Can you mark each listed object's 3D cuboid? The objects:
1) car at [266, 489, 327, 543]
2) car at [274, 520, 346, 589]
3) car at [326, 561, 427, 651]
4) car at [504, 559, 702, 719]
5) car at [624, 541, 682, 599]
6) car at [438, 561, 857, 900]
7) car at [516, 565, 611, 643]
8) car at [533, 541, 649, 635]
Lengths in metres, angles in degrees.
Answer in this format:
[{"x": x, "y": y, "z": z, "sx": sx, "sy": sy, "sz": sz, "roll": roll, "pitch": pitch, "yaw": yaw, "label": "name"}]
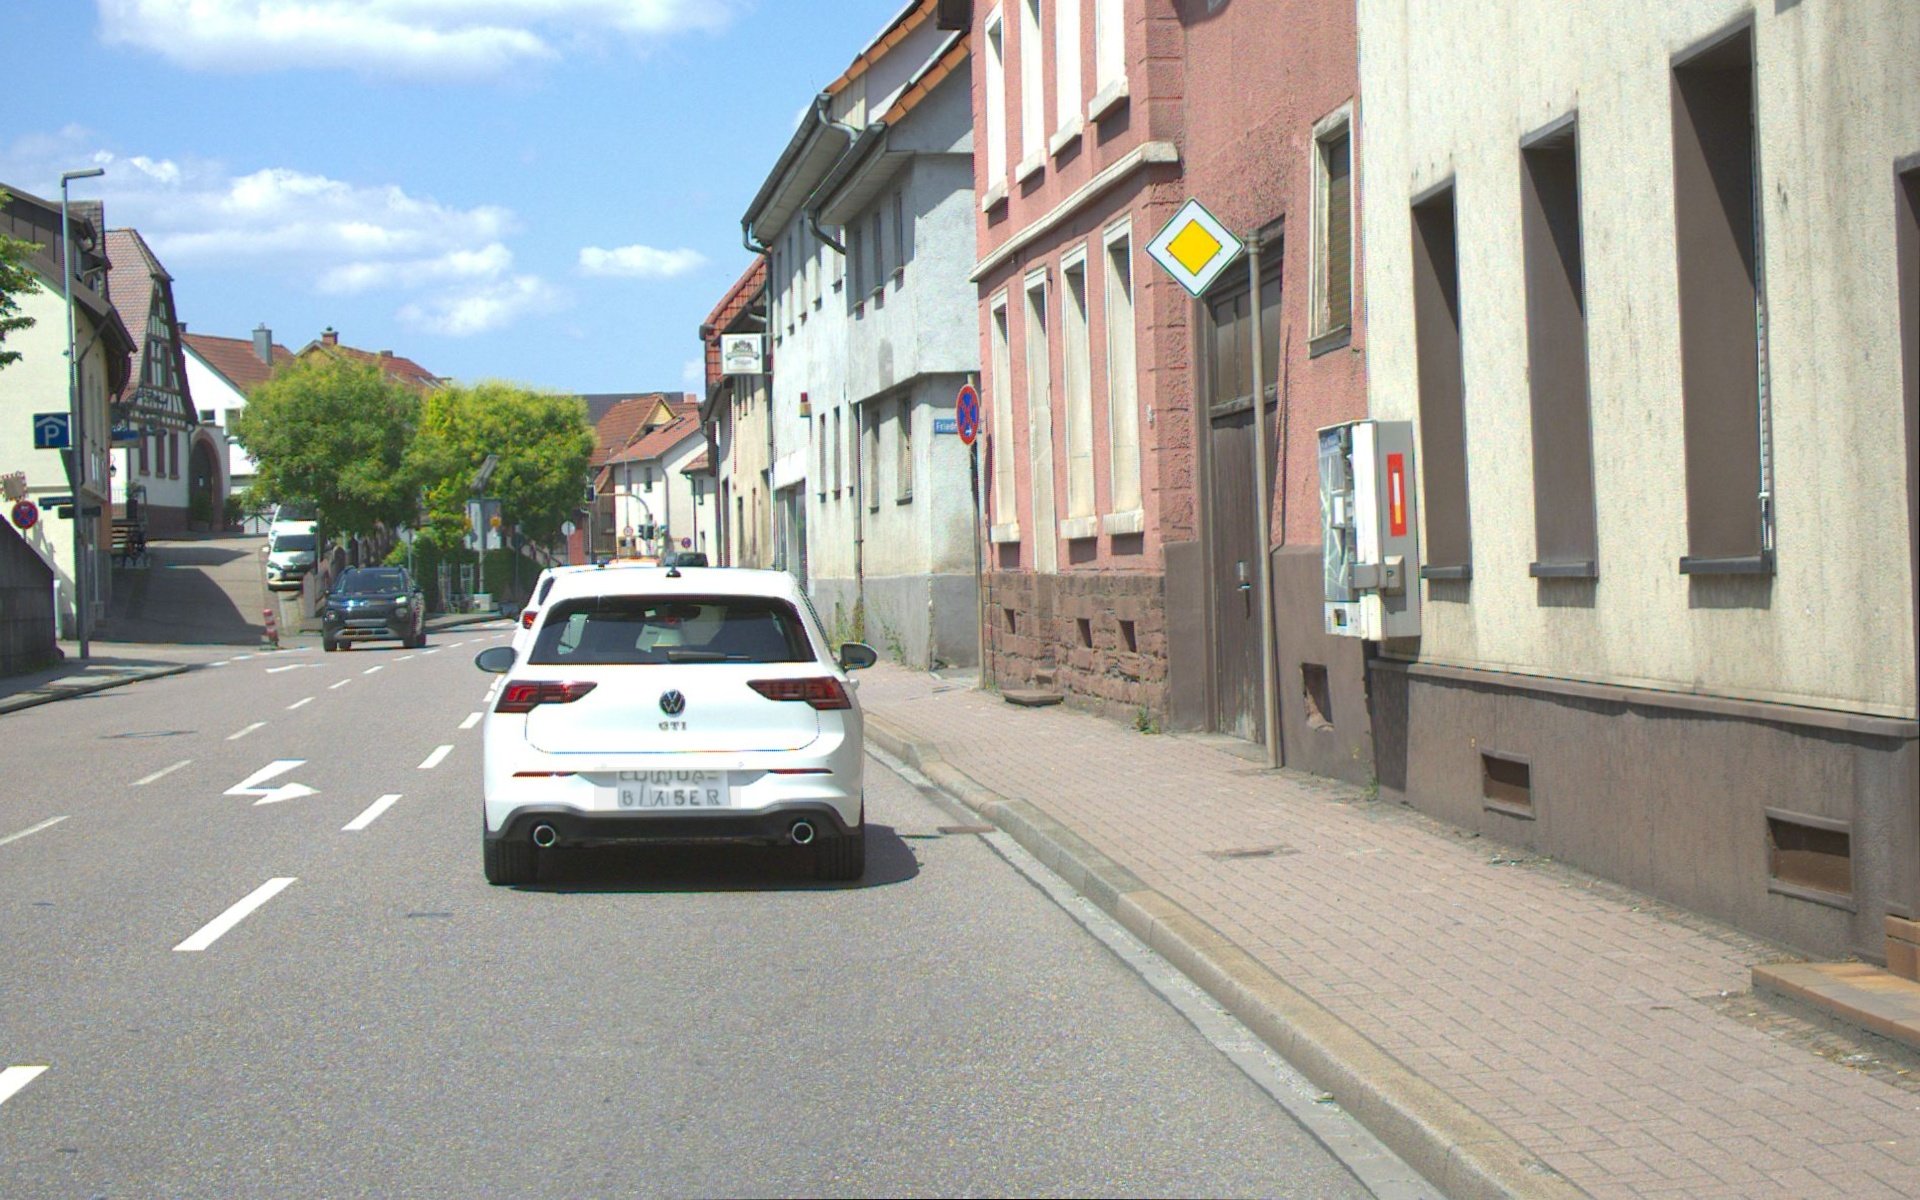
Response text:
[{"x": -20.813, "y": -2.646, "z": 107.947, "sx": 1.576, "sy": 1.357, "sz": 3.857, "roll": -1, "pitch": 6, "yaw": -7, "label": "car"}, {"x": -18.095, "y": -1.283, "z": 95.821, "sx": 1.693, "sy": 1.537, "sz": 3.857, "roll": -1, "pitch": 6, "yaw": -7, "label": "car"}, {"x": -11.255, "y": 0.099, "z": 66.481, "sx": 1.669, "sy": 1.652, "sz": 4.018, "roll": -1, "pitch": 1, "yaw": -6, "label": "car"}, {"x": -3.533, "y": 0.355, "z": 33.709, "sx": 1.807, "sy": 1.462, "sz": 4.001, "roll": 1, "pitch": 0, "yaw": -7, "label": "car"}, {"x": -9.714, "y": -0.946, "z": 108.814, "sx": 1.775, "sy": 1.759, "sz": 4.001, "roll": -1, "pitch": 1, "yaw": -5, "label": "car"}, {"x": -1.423, "y": 0.563, "z": 16.951, "sx": 1.807, "sy": 1.462, "sz": 4.000, "roll": 1, "pitch": 0, "yaw": -2, "label": "car"}, {"x": -8.167, "y": 0.058, "z": 71.112, "sx": 1.775, "sy": 1.533, "sz": 4.001, "roll": -1, "pitch": 1, "yaw": -4, "label": "car"}, {"x": -6.044, "y": -0.202, "z": 56.063, "sx": 1.807, "sy": 1.462, "sz": 4.001, "roll": 1, "pitch": 0, "yaw": -7, "label": "car"}]
